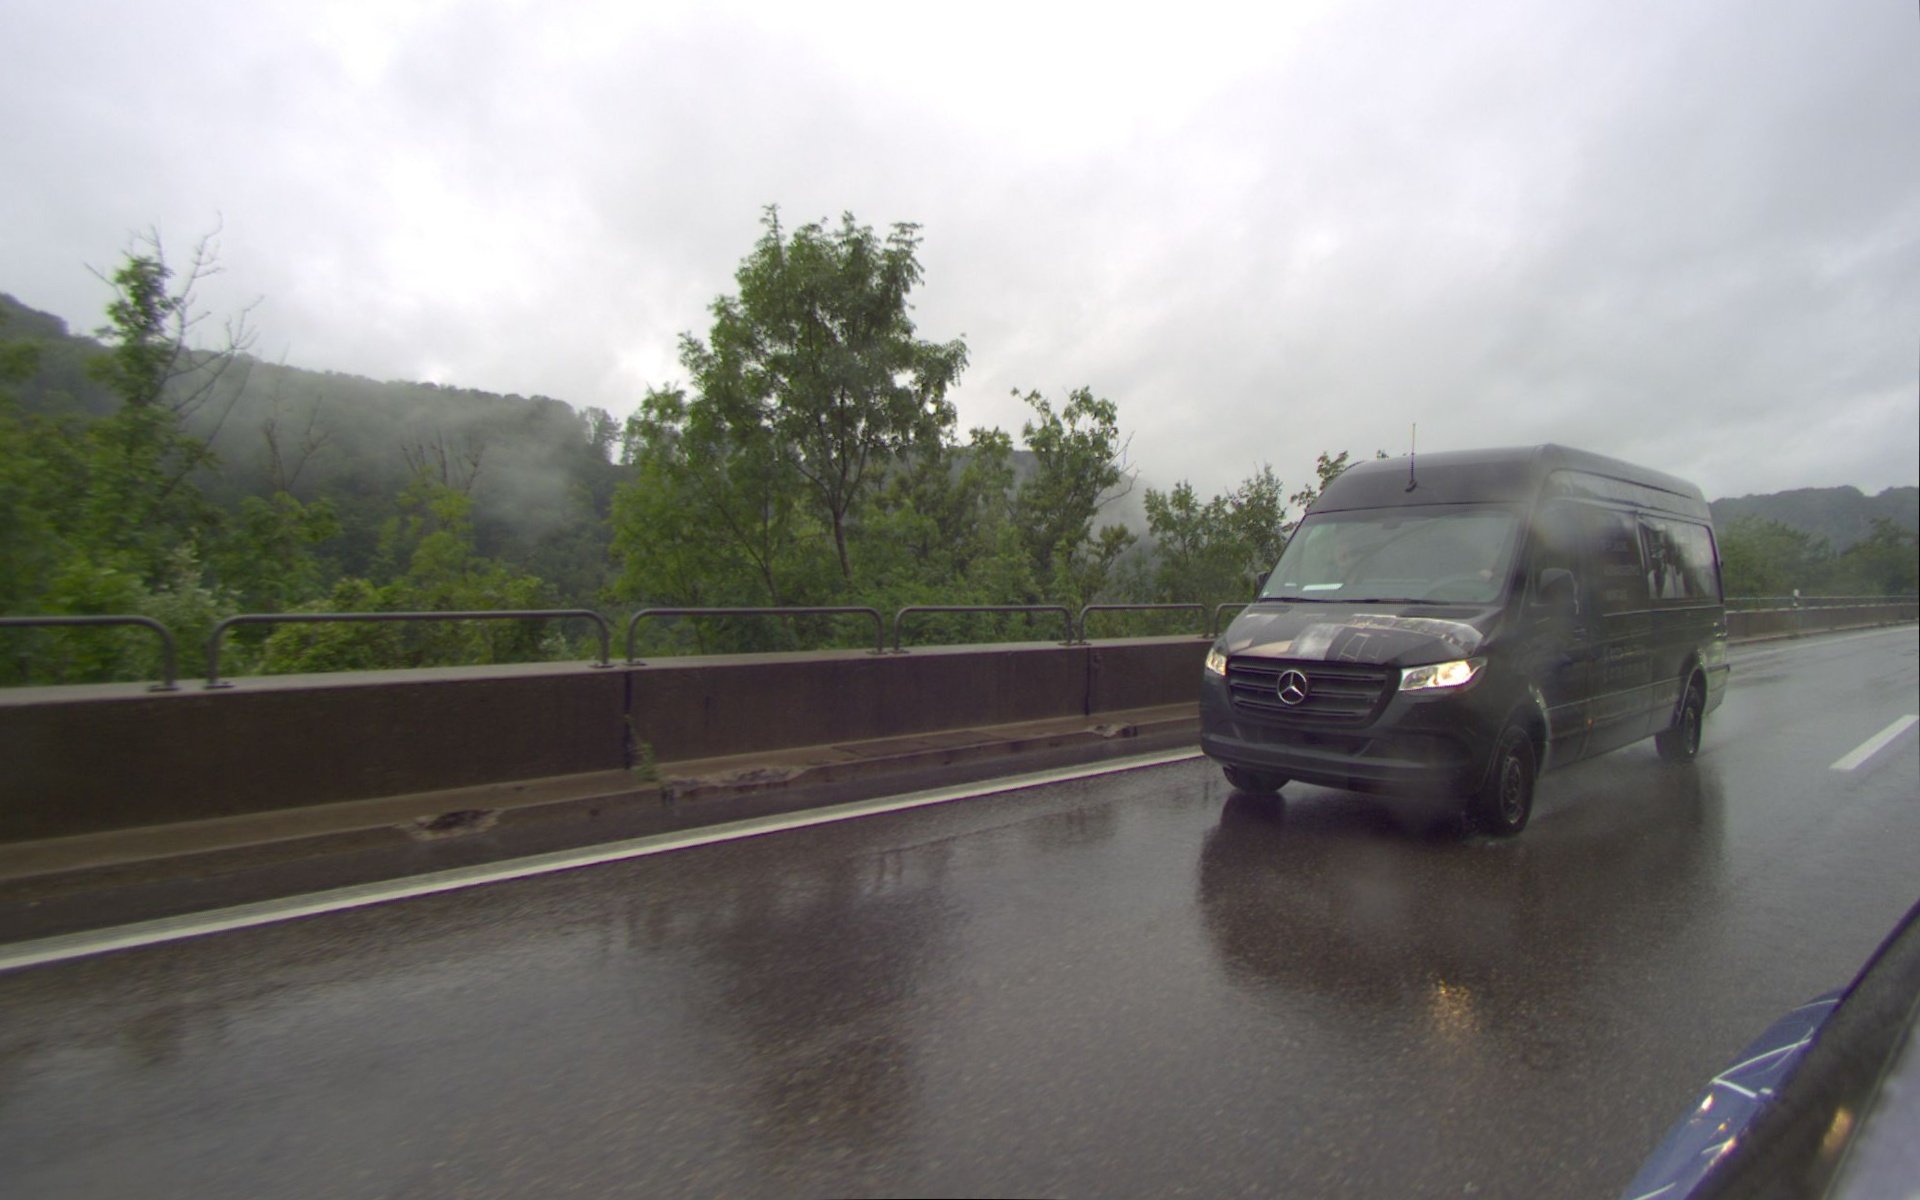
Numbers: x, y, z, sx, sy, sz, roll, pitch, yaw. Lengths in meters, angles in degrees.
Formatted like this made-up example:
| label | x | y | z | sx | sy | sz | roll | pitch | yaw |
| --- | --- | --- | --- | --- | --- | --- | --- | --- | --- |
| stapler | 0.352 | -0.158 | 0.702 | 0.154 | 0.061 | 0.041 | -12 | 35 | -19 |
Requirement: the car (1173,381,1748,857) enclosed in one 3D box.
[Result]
| label | x | y | z | sx | sy | sz | roll | pitch | yaw |
| --- | --- | --- | --- | --- | --- | --- | --- | --- | --- |
| car | 4.551 | 0.107 | 8.345 | 6.590 | 2.526 | 1.996 | 1 | 0 | -42 |
